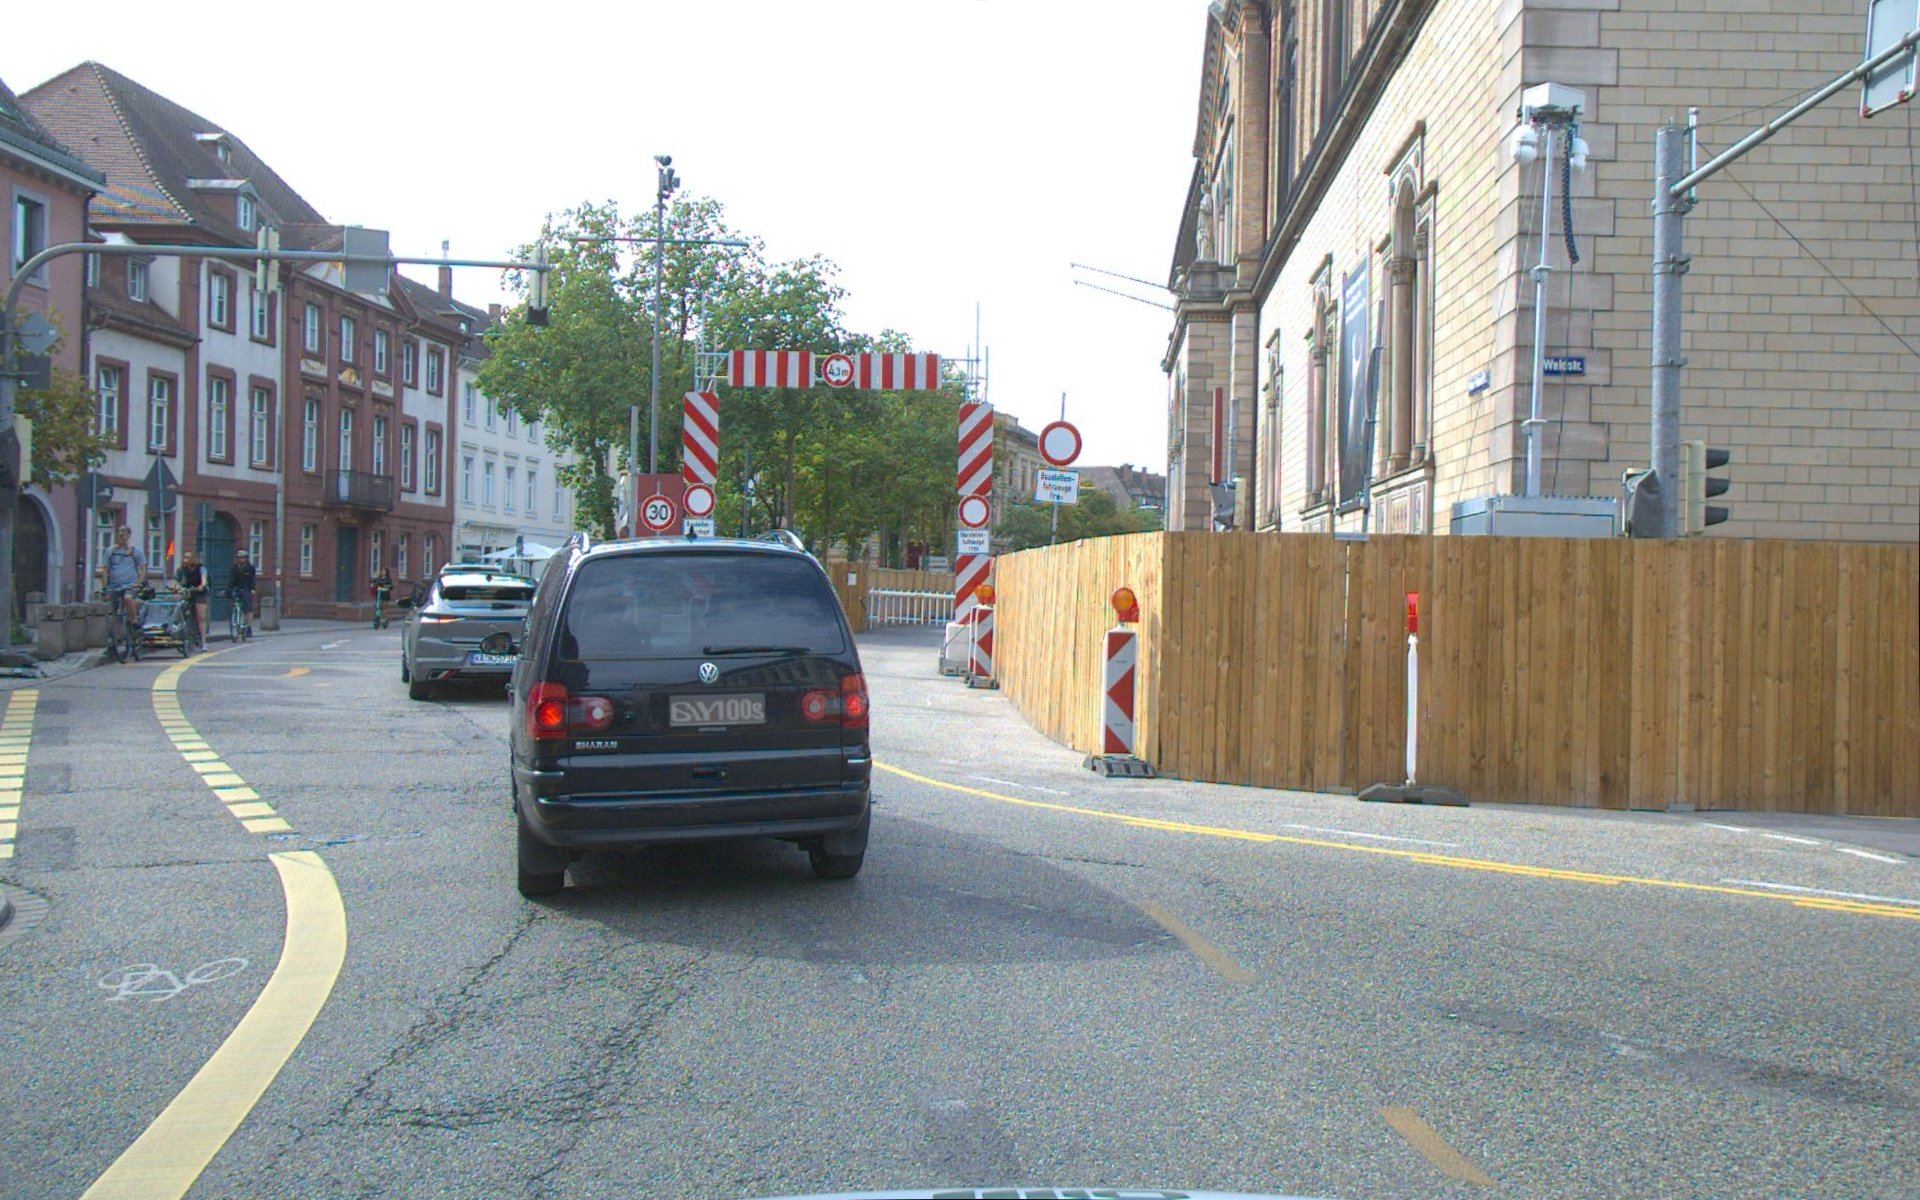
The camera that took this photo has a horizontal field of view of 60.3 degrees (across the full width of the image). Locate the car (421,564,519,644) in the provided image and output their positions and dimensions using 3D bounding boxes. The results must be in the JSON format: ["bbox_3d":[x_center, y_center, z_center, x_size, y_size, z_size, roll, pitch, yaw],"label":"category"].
[{"bbox_3d":[-10.652,0.073,35.775,1.747,1.613,3.976,1,0,-20],"label":"car"}]

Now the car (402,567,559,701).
[{"bbox_3d":[-6.095,0.382,20.763,1.653,1.494,4.080,2,0,-19],"label":"car"}]

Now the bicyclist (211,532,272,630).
[{"bbox_3d":[-15.011,-0.393,34.588,0.909,1.997,1.102,1,0,-12],"label":"bicyclist"}]

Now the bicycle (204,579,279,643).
[{"bbox_3d":[-15.034,0.218,34.657,0.909,1.277,2.534,1,0,-12],"label":"bicycle"}]

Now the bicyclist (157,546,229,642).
[{"bbox_3d":[-13.502,-0.107,29.144,0.909,1.637,1.060,1,0,-12],"label":"bicyclist"}]

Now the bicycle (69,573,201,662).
[{"bbox_3d":[-12.670,0.253,25.520,1.037,1.277,3.032,1,0,-12],"label":"bicycle"}]

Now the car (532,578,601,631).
[{"bbox_3d":[-12.671,0.148,53.458,1.740,1.613,3.993,1,0,-7],"label":"car"}]

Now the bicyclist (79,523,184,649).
[{"bbox_3d":[-12.625,-0.210,25.245,1.072,1.856,1.361,1,0,-12],"label":"bicyclist"}]

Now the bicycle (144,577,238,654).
[{"bbox_3d":[-13.499,0.266,29.102,0.909,1.277,2.534,1,0,-12],"label":"bicycle"}]

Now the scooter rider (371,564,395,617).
[{"bbox_3d":[-16.586,-0.275,47.543,0.589,1.516,0.676,1,0,-15],"label":"scooter rider"}]

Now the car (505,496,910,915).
[{"bbox_3d":[-1.608,0.469,9.396,1.760,1.821,4.087,2,0,-14],"label":"car"}]

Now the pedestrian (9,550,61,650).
[{"bbox_3d":[-16.107,-0.005,28.796,0.660,1.706,0.687,-1,1,-41],"label":"pedestrian"}]

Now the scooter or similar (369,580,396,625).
[{"bbox_3d":[-16.594,0.069,47.538,0.589,1.277,1.546,1,0,-15],"label":"scooter or similar"}]

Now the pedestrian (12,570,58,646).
[{"bbox_3d":[-21.104,0.172,37.732,0.651,1.706,0.697,0,1,-3],"label":"pedestrian"}]
